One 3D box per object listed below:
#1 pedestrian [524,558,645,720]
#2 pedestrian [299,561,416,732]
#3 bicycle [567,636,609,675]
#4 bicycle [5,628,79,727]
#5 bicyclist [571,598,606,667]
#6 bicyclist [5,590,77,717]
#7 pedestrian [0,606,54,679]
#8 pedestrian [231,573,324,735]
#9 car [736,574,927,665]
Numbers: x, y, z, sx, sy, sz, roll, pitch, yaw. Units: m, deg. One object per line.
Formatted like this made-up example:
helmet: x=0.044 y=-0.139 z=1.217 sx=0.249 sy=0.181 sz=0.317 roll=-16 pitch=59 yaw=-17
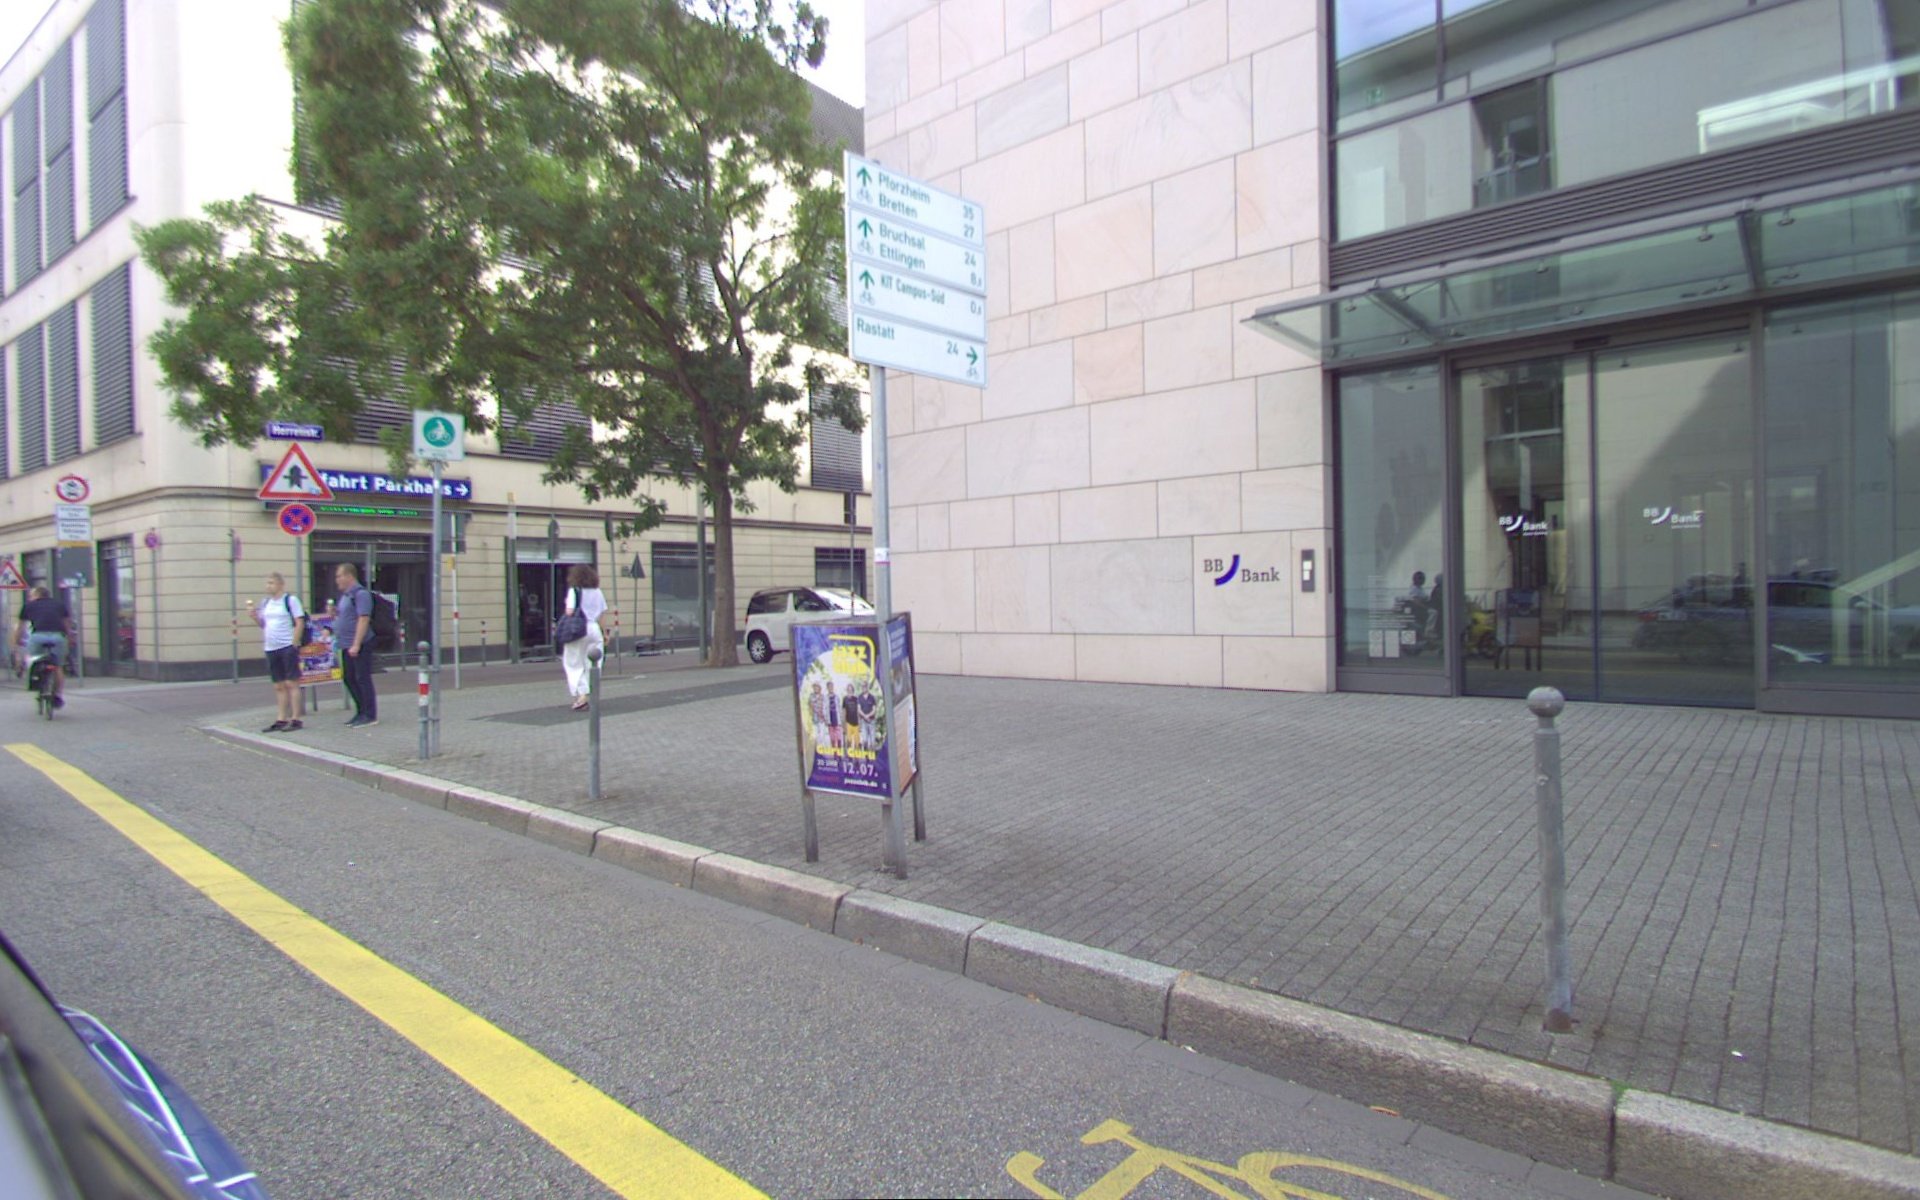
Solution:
pedestrian: x=-4.291 y=0.416 z=11.572 sx=0.909 sy=1.721 sz=0.868 roll=-1 pitch=4 yaw=40
pedestrian: x=-6.799 y=0.506 z=11.436 sx=0.753 sy=1.827 sz=0.738 roll=-2 pitch=3 yaw=29
bicycle: x=-9.166 y=1.353 z=25.008 sx=0.592 sy=0.840 sz=1.728 roll=-5 pitch=1 yaw=-9
bicycle: x=-12.567 y=1.013 z=13.833 sx=0.639 sy=1.250 sz=1.954 roll=3 pitch=-3 yaw=-44
bicyclist: x=-9.219 y=0.797 z=25.106 sx=0.613 sy=1.631 sz=0.645 roll=-3 pitch=1 yaw=-9
bicyclist: x=-12.564 y=0.713 z=13.835 sx=0.635 sy=1.666 sz=0.940 roll=3 pitch=-3 yaw=-45
pedestrian: x=-23.964 y=1.070 z=25.863 sx=1.058 sy=1.778 sz=0.883 roll=-1 pitch=3 yaw=34
pedestrian: x=-7.790 y=0.594 z=11.561 sx=0.651 sy=1.778 sz=0.637 roll=-2 pitch=0 yaw=29
car: x=-2.893 y=0.462 z=22.471 sx=3.957 sy=1.706 sz=1.876 roll=-5 pitch=-3 yaw=37
